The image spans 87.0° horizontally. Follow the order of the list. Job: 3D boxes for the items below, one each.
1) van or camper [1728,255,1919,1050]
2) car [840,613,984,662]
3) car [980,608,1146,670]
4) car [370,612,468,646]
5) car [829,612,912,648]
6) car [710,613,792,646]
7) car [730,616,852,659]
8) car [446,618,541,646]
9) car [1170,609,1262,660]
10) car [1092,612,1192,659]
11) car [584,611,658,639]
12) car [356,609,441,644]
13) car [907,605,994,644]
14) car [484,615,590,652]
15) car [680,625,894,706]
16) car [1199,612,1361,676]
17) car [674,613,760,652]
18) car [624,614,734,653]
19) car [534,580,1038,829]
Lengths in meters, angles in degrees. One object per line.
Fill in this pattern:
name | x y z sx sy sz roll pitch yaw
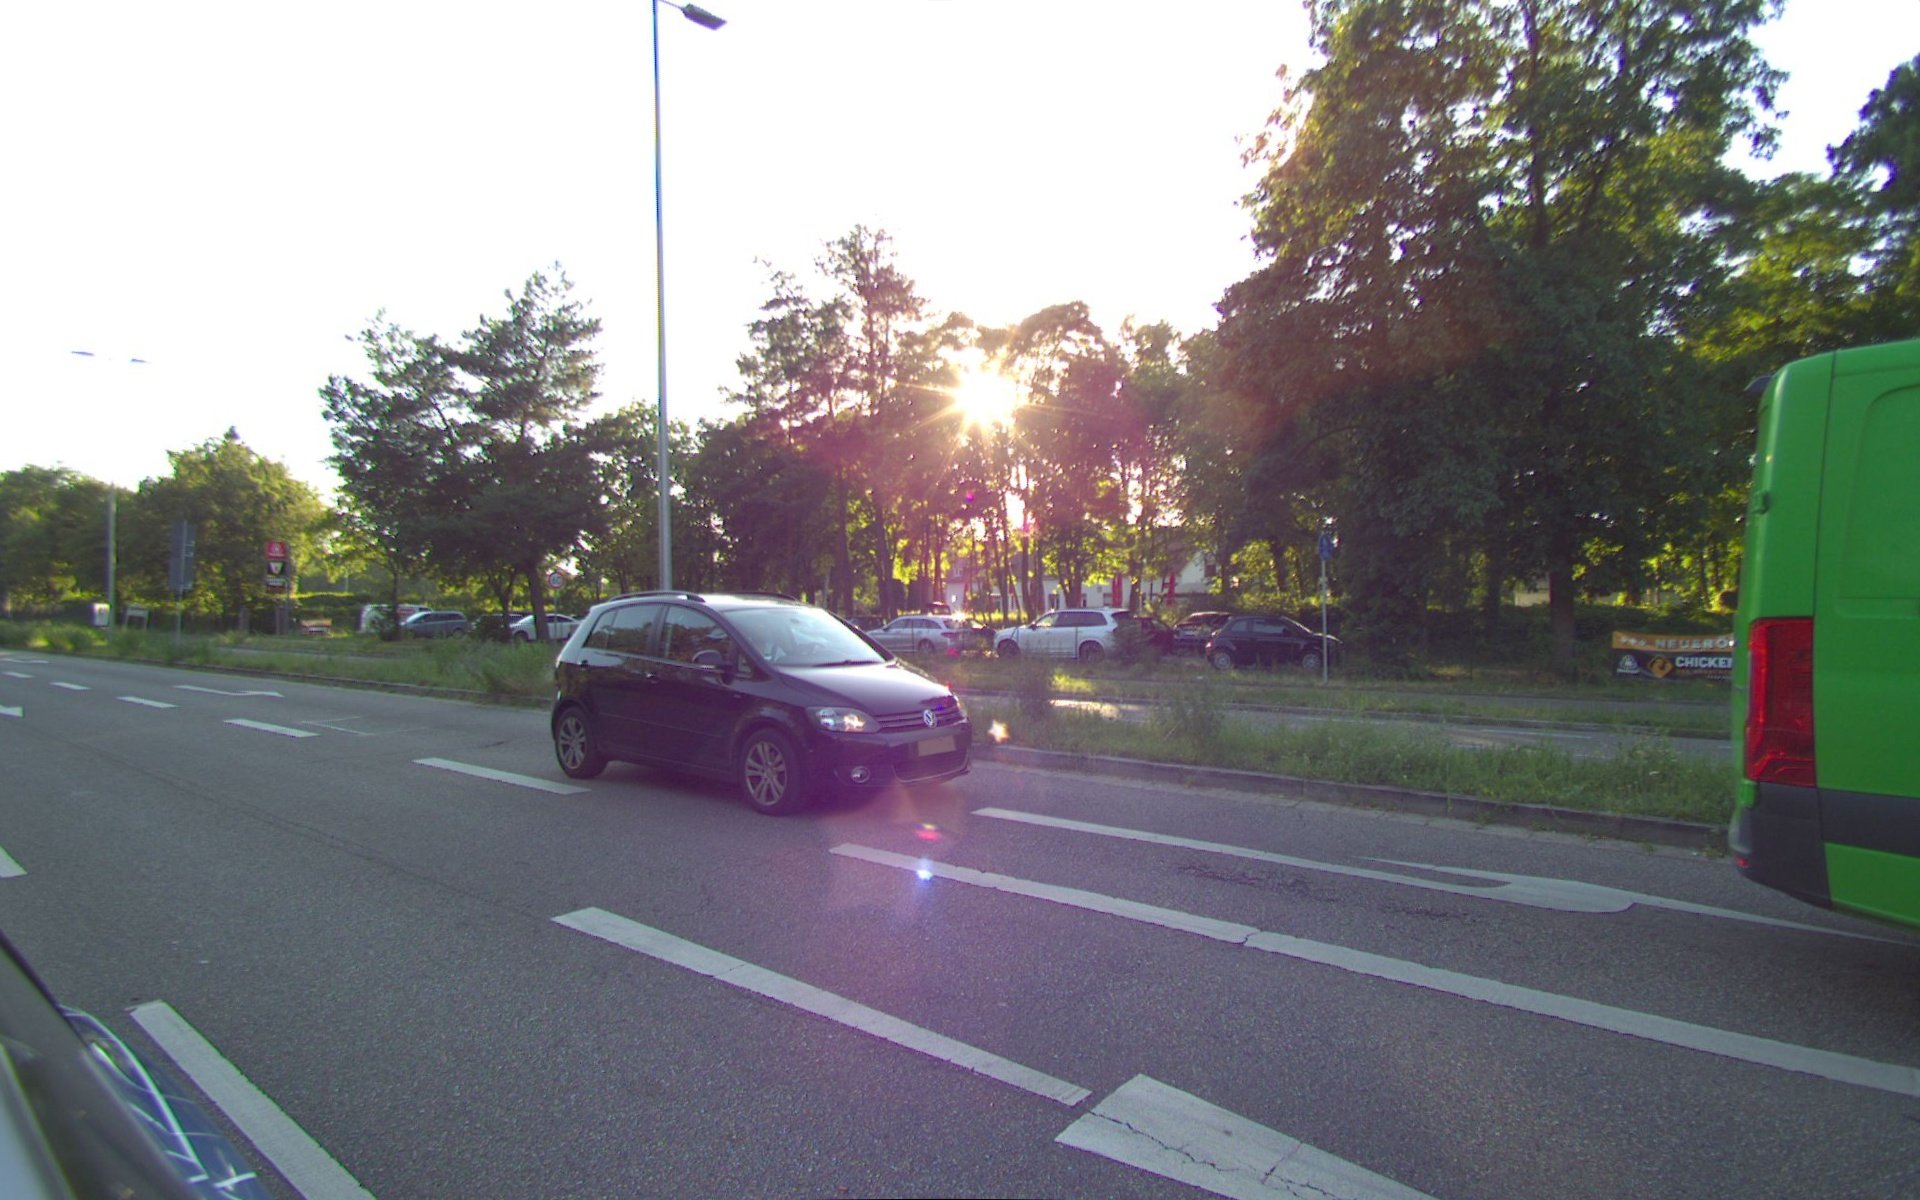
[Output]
van or camper | 5.479 0.136 2.264 5.891 2.439 1.973 -1 -2 40
car | -1.734 1.287 35.592 4.913 1.619 1.975 -1 -2 37
car | 3.185 1.178 31.805 4.913 1.800 1.975 -1 -2 37
car | -30.230 1.608 56.677 1.907 1.811 4.443 -1 -2 38
car | -4.308 1.452 49.047 1.765 1.663 3.947 -1 -2 39
car | -10.889 1.523 52.949 1.765 1.663 3.947 -1 -2 40
car | -6.593 1.417 39.295 4.701 1.560 1.975 -1 -2 37
car | -23.205 1.580 50.454 1.731 1.322 3.947 -1 -2 39
car | 9.012 1.175 35.443 1.914 1.663 3.954 -1 -1 34
car | 6.834 1.313 37.846 1.918 1.663 3.944 -1 -2 42
car | -20.484 1.508 61.240 1.765 1.663 3.947 -1 -2 40
car | -32.518 1.518 58.682 1.764 1.959 3.949 -1 -2 38
car | -0.373 1.105 45.112 1.765 1.663 3.947 -1 -2 39
car | -20.791 1.624 49.846 1.908 1.767 4.441 -1 -2 39
car | -3.612 1.258 20.701 4.497 1.452 1.872 -1 -2 40
car | 8.584 1.148 27.249 3.807 1.609 1.838 -1 -2 36
car | -9.979 1.307 41.677 1.657 1.538 3.060 -1 -2 38
car | -12.158 1.421 44.047 1.769 1.629 4.470 -1 -2 37
car | -1.552 0.697 8.378 3.995 1.564 1.974 -1 -2 38
